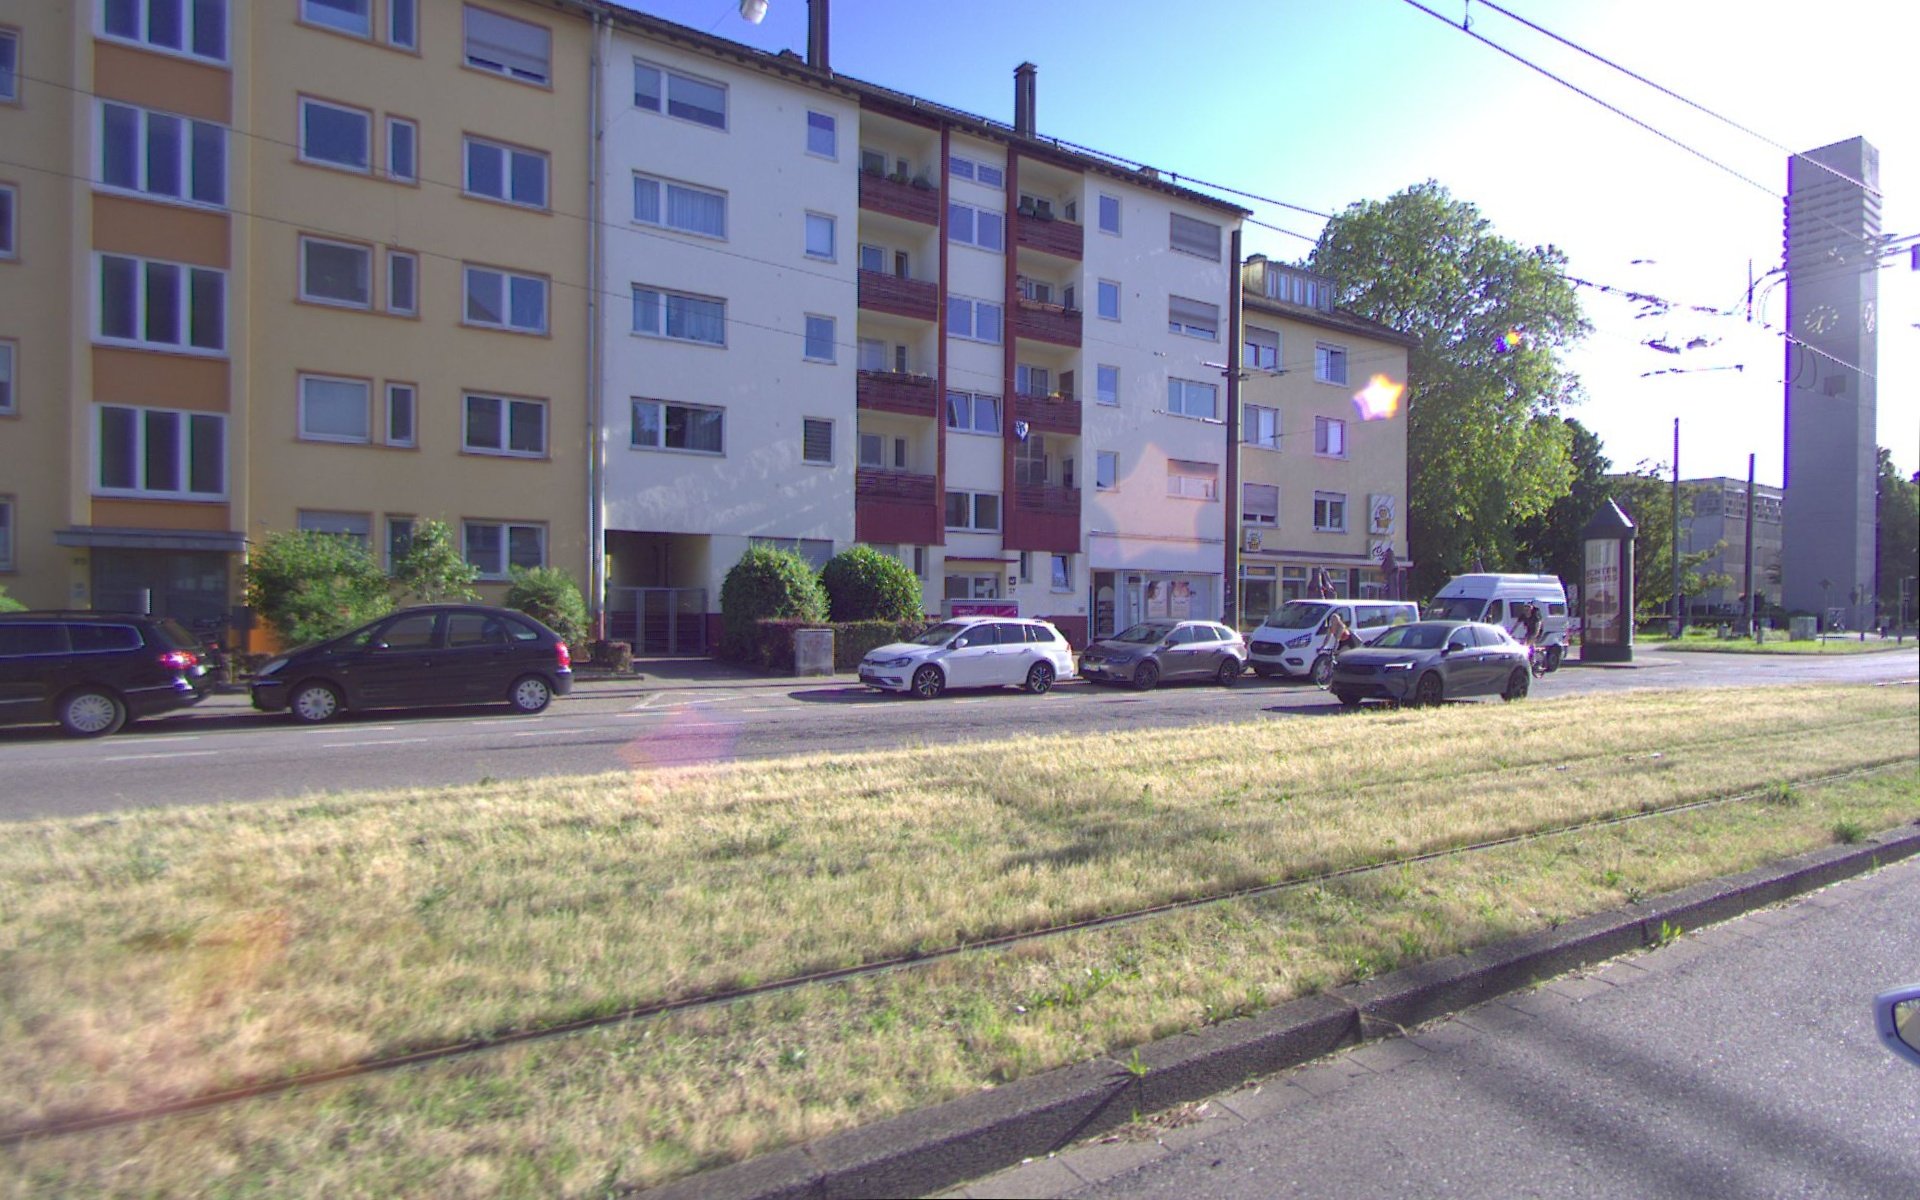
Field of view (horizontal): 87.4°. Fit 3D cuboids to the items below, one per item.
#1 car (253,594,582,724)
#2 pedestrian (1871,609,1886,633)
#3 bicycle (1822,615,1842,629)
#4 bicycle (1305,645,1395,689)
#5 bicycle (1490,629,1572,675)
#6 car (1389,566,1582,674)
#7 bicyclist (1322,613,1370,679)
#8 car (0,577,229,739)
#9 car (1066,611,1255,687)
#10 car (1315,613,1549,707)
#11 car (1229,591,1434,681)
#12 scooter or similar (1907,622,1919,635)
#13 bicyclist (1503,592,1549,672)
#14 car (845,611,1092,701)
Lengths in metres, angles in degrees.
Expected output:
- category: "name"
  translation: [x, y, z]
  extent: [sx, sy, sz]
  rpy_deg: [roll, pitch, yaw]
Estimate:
- category: "car"
  translation: [-8.022, 0.800, 15.098]
  extent: [4.104, 1.629, 1.983]
  rpy_deg: [1, 2, -32]
- category: "pedestrian"
  translation: [66.468, 1.534, 72.697]
  extent: [0.735, 1.689, 0.442]
  rpy_deg: [1, 2, -21]
- category: "bicycle"
  translation: [68.402, 1.713, 78.826]
  extent: [1.660, 1.060, 0.489]
  rpy_deg: [1, 2, -24]
- category: "bicycle"
  translation: [8.611, 1.455, 22.171]
  extent: [2.045, 0.891, 0.764]
  rpy_deg: [1, -2, -31]
- category: "bicycle"
  translation: [15.071, 1.351, 26.490]
  extent: [2.446, 1.161, 0.764]
  rpy_deg: [1, -2, -31]
- category: "car"
  translation: [15.504, 0.559, 29.512]
  extent: [6.155, 2.907, 2.022]
  rpy_deg: [1, 1, -31]
- category: "bicyclist"
  translation: [8.481, 0.993, 22.083]
  extent: [0.641, 1.402, 0.769]
  rpy_deg: [1, 0, -31]
- category: "car"
  translation: [-12.033, 0.670, 12.516]
  extent: [4.557, 1.862, 1.983]
  rpy_deg: [1, 2, -32]
- category: "car"
  translation: [4.582, 1.049, 22.717]
  extent: [4.281, 1.535, 1.684]
  rpy_deg: [1, 1, -34]
- category: "car"
  translation: [8.310, 0.985, 17.612]
  extent: [4.168, 1.467, 1.686]
  rpy_deg: [1, -1, -31]
- category: "car"
  translation: [9.619, 0.875, 25.879]
  extent: [5.307, 2.048, 2.022]
  rpy_deg: [1, 2, -31]
- category: "scooter or similar"
  translation: [68.179, 2.017, 71.048]
  extent: [1.716, 0.911, 0.560]
  rpy_deg: [0, 0, 44]
- category: "bicyclist"
  translation: [14.941, 0.834, 26.534]
  extent: [0.641, 2.041, 0.769]
  rpy_deg: [1, 2, -31]
- category: "car"
  translation: [0.227, 1.030, 19.909]
  extent: [4.653, 1.511, 1.881]
  rpy_deg: [1, 2, -34]
